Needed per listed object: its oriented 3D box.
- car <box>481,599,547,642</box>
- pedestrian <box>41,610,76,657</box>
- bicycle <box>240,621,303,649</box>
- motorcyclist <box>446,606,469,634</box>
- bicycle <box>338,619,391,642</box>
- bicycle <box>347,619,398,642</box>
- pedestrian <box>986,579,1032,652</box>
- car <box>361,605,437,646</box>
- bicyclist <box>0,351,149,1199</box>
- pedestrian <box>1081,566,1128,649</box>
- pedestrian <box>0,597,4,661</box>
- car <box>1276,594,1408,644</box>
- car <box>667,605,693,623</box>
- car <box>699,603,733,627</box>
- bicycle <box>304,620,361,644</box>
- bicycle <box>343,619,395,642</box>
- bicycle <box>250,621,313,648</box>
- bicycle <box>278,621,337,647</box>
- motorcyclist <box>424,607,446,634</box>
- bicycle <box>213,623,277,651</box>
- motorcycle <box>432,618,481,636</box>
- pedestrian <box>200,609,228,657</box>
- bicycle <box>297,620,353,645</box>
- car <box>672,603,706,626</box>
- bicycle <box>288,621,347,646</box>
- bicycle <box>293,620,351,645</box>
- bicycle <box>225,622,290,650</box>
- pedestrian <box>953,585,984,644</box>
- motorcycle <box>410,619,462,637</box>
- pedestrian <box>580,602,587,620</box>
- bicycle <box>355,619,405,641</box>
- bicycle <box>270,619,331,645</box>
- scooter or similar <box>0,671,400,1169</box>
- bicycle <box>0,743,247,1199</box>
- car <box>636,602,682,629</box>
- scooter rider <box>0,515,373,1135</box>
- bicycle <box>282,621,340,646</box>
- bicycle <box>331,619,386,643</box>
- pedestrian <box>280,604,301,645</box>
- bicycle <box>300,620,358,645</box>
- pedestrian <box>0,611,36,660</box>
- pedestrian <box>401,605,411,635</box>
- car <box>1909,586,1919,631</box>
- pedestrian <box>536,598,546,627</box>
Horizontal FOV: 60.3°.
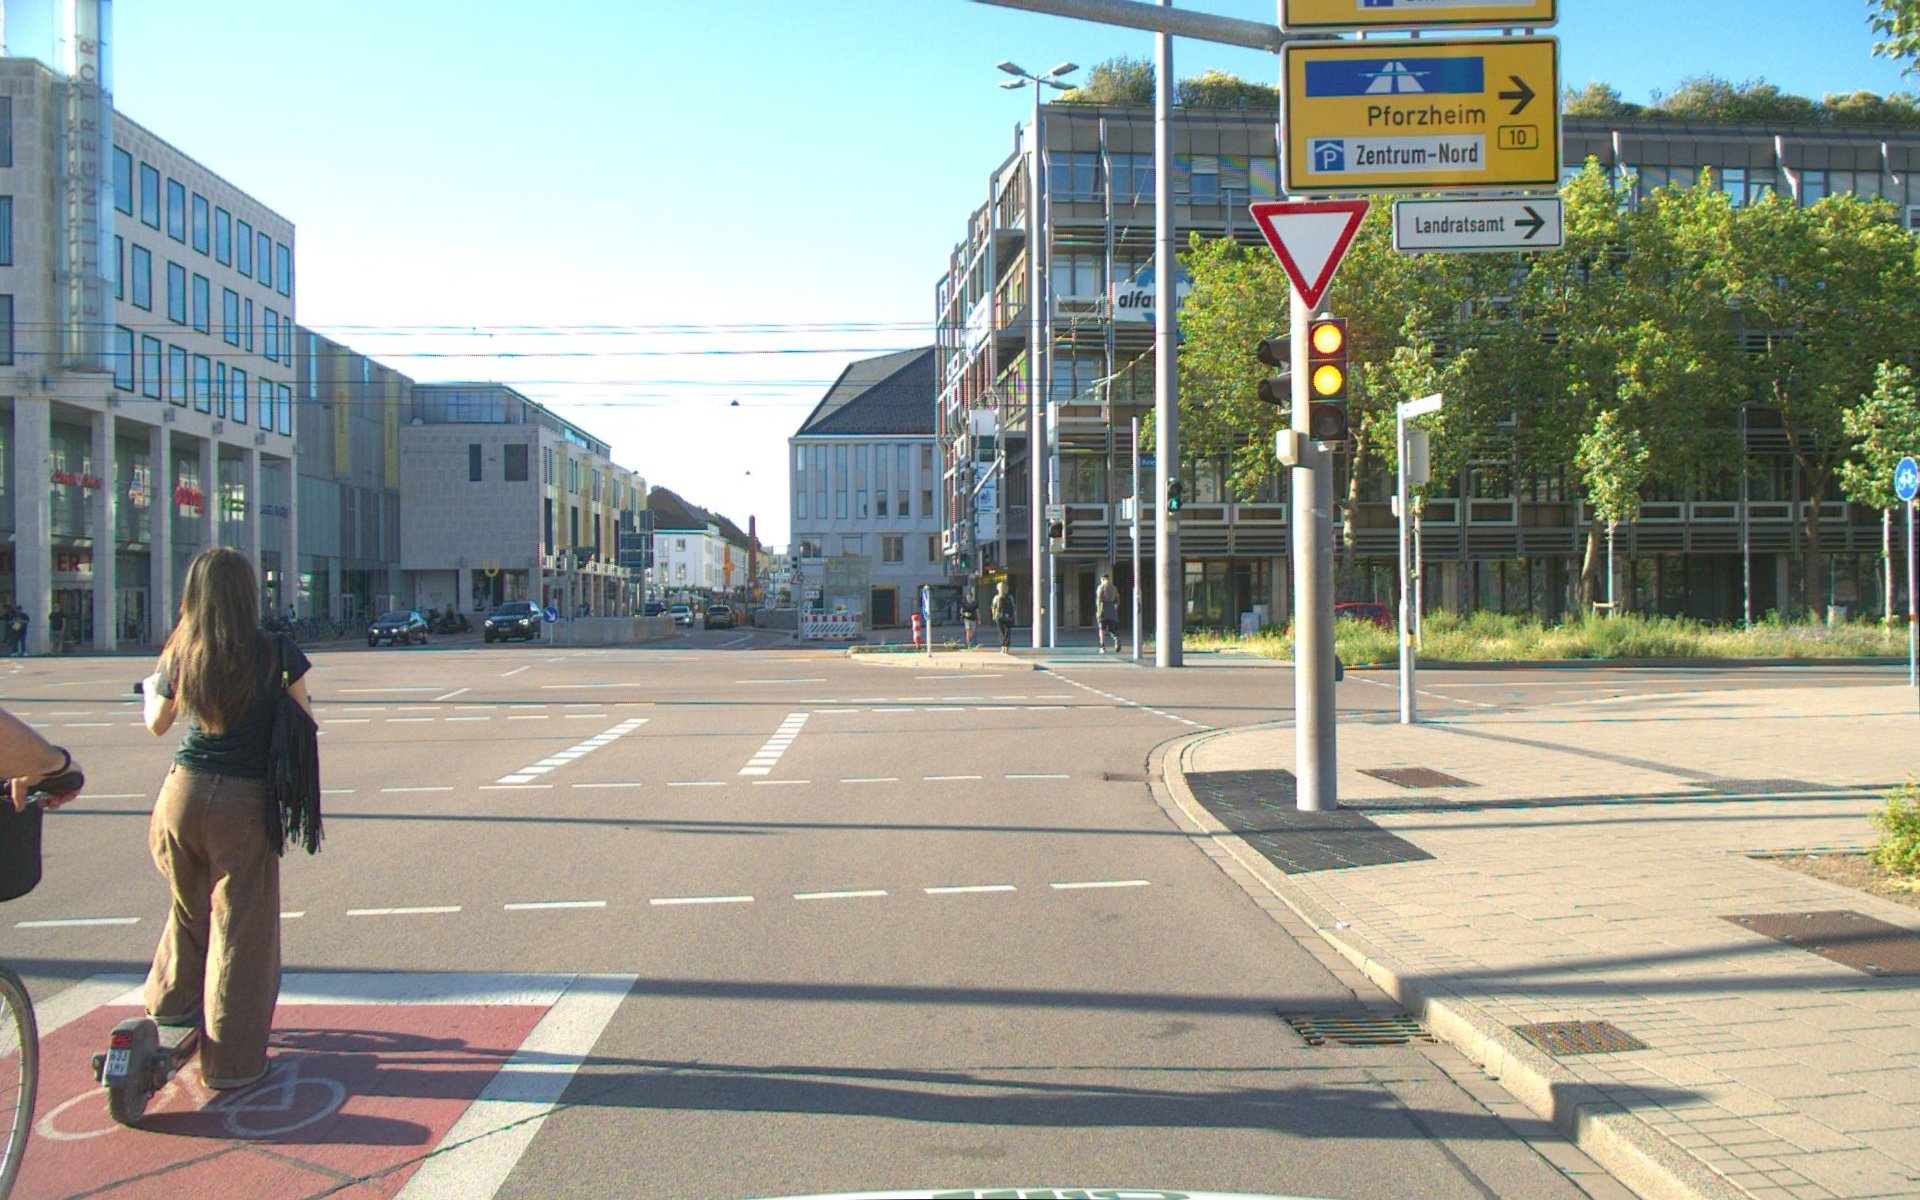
[{"bbox_3d":[-18.456,0.837,68.595,1.900,1.707,4.289,-1,0,-5],"label":"car"},{"bbox_3d":[-31.247,1.158,57.327,0.937,1.598,0.829,0,0,-41],"label":"pedestrian"},{"bbox_3d":[-29.458,1.502,70.805,2.416,1.130,0.684,-1,0,1],"label":"bicycle"},{"bbox_3d":[-29.575,1.173,97.347,1.115,1.602,0.915,1,-1,-8],"label":"motorcyclist"},{"bbox_3d":[-30.285,1.546,84.143,2.417,1.130,0.660,-1,0,0],"label":"bicycle"},{"bbox_3d":[-30.388,1.566,85.537,2.417,1.130,0.631,-1,0,0],"label":"bicycle"},{"bbox_3d":[1.080,0.329,36.394,0.879,1.576,0.922,-1,1,-7],"label":"pedestrian"},{"bbox_3d":[-23.576,1.047,69.655,1.899,1.608,4.292,-1,0,-3],"label":"car"},{"bbox_3d":[-1.980,0.428,2.948,0.685,1.698,0.786,-1,0,-3],"label":"bicyclist"},{"bbox_3d":[3.124,0.146,35.814,0.839,1.774,0.738,-1,1,-9],"label":"pedestrian"},{"bbox_3d":[-33.370,0.983,56.476,1.055,2.166,1.081,0,0,-43],"label":"pedestrian"},{"bbox_3d":[12.544,0.648,54.448,3.793,1.512,1.843,-1,-3,-7],"label":"car"},{"bbox_3d":[-29.081,1.463,171.821,2.131,1.906,5.609,0,-1,-5],"label":"car"},{"bbox_3d":[-15.923,0.983,107.947,1.898,1.475,4.258,0,-1,-4],"label":"car"},{"bbox_3d":[-30.342,1.533,79.980,2.417,1.130,0.835,-1,0,0],"label":"bicycle"},{"bbox_3d":[-30.300,1.556,84.848,2.417,1.130,0.660,-1,0,0],"label":"bicycle"},{"bbox_3d":[-29.378,1.492,71.615,2.417,1.130,0.684,-1,0,0],"label":"bicycle"},{"bbox_3d":[-29.568,1.526,74.962,2.417,1.130,0.593,-1,0,0],"label":"bicycle"},{"bbox_3d":[-29.805,1.182,93.858,1.017,1.497,0.915,1,0,-8],"label":"motorcyclist"},{"bbox_3d":[-29.433,1.512,68.094,2.354,1.132,0.658,-1,0,-1],"label":"bicycle"},{"bbox_3d":[-29.605,1.606,97.328,2.617,1.013,0.915,1,0,-8],"label":"motorcycle"},{"bbox_3d":[-27.749,1.236,61.531,0.736,1.770,0.756,0,0,-3],"label":"pedestrian"},{"bbox_3d":[-30.229,1.530,78.731,2.417,1.130,0.684,-1,0,0],"label":"bicycle"},{"bbox_3d":[-21.535,1.162,131.389,2.131,1.722,5.610,0,-1,-4],"label":"car"},{"bbox_3d":[-29.597,1.531,76.187,2.417,1.130,0.684,-1,0,0],"label":"bicycle"},{"bbox_3d":[-29.672,1.526,76.962,2.417,1.130,0.684,-1,0,0],"label":"bicycle"},{"bbox_3d":[-29.479,1.506,69.440,2.417,1.130,0.684,-1,0,-1],"label":"bicycle"},{"bbox_3d":[0.284,0.477,54.895,0.991,1.944,1.051,0,0,-1],"label":"pedestrian"},{"bbox_3d":[-29.732,1.589,93.877,2.617,1.013,0.915,1,0,-8],"label":"motorcycle"},{"bbox_3d":[-29.403,0.830,129.262,0.479,1.380,0.563,1,-1,-7],"label":"pedestrian"},{"bbox_3d":[-30.425,1.559,86.787,2.417,1.130,0.660,-1,0,0],"label":"bicycle"},{"bbox_3d":[-29.258,1.407,73.408,2.417,1.130,0.684,-1,0,0],"label":"bicycle"},{"bbox_3d":[-2.209,0.846,4.953,0.629,1.196,1.482,1,0,-4],"label":"scooter or similar"},{"bbox_3d":[-1.969,0.893,2.921,0.692,1.113,1.799,-1,0,-2],"label":"bicycle"},{"bbox_3d":[-19.915,1.061,109.725,2.130,1.722,5.485,0,-1,-1],"label":"car"},{"bbox_3d":[-2.186,0.571,4.771,0.629,1.571,1.116,1,0,-4],"label":"scooter rider"},{"bbox_3d":[-29.628,1.528,75.540,2.417,1.130,0.537,-1,0,0],"label":"bicycle"},{"bbox_3d":[-30.303,1.553,83.344,2.417,1.130,0.835,-1,0,0],"label":"bicycle"},{"bbox_3d":[-33.505,1.211,82.712,0.933,2.017,1.000,0,0,-25],"label":"pedestrian"},{"bbox_3d":[-29.659,1.528,77.782,2.417,1.130,0.835,-1,0,0],"label":"bicycle"},{"bbox_3d":[-33.135,1.237,58.042,0.932,1.680,1.001,-1,0,43],"label":"pedestrian"},{"bbox_3d":[-37.751,1.378,112.716,0.606,2.049,0.476,1,-1,-15],"label":"pedestrian"},{"bbox_3d":[38.424,0.318,62.010,4.764,1.709,1.996,0,1,-10],"label":"car"},{"bbox_3d":[-29.409,0.856,116.050,0.606,2.049,0.476,1,-1,-15],"label":"pedestrian"}]
